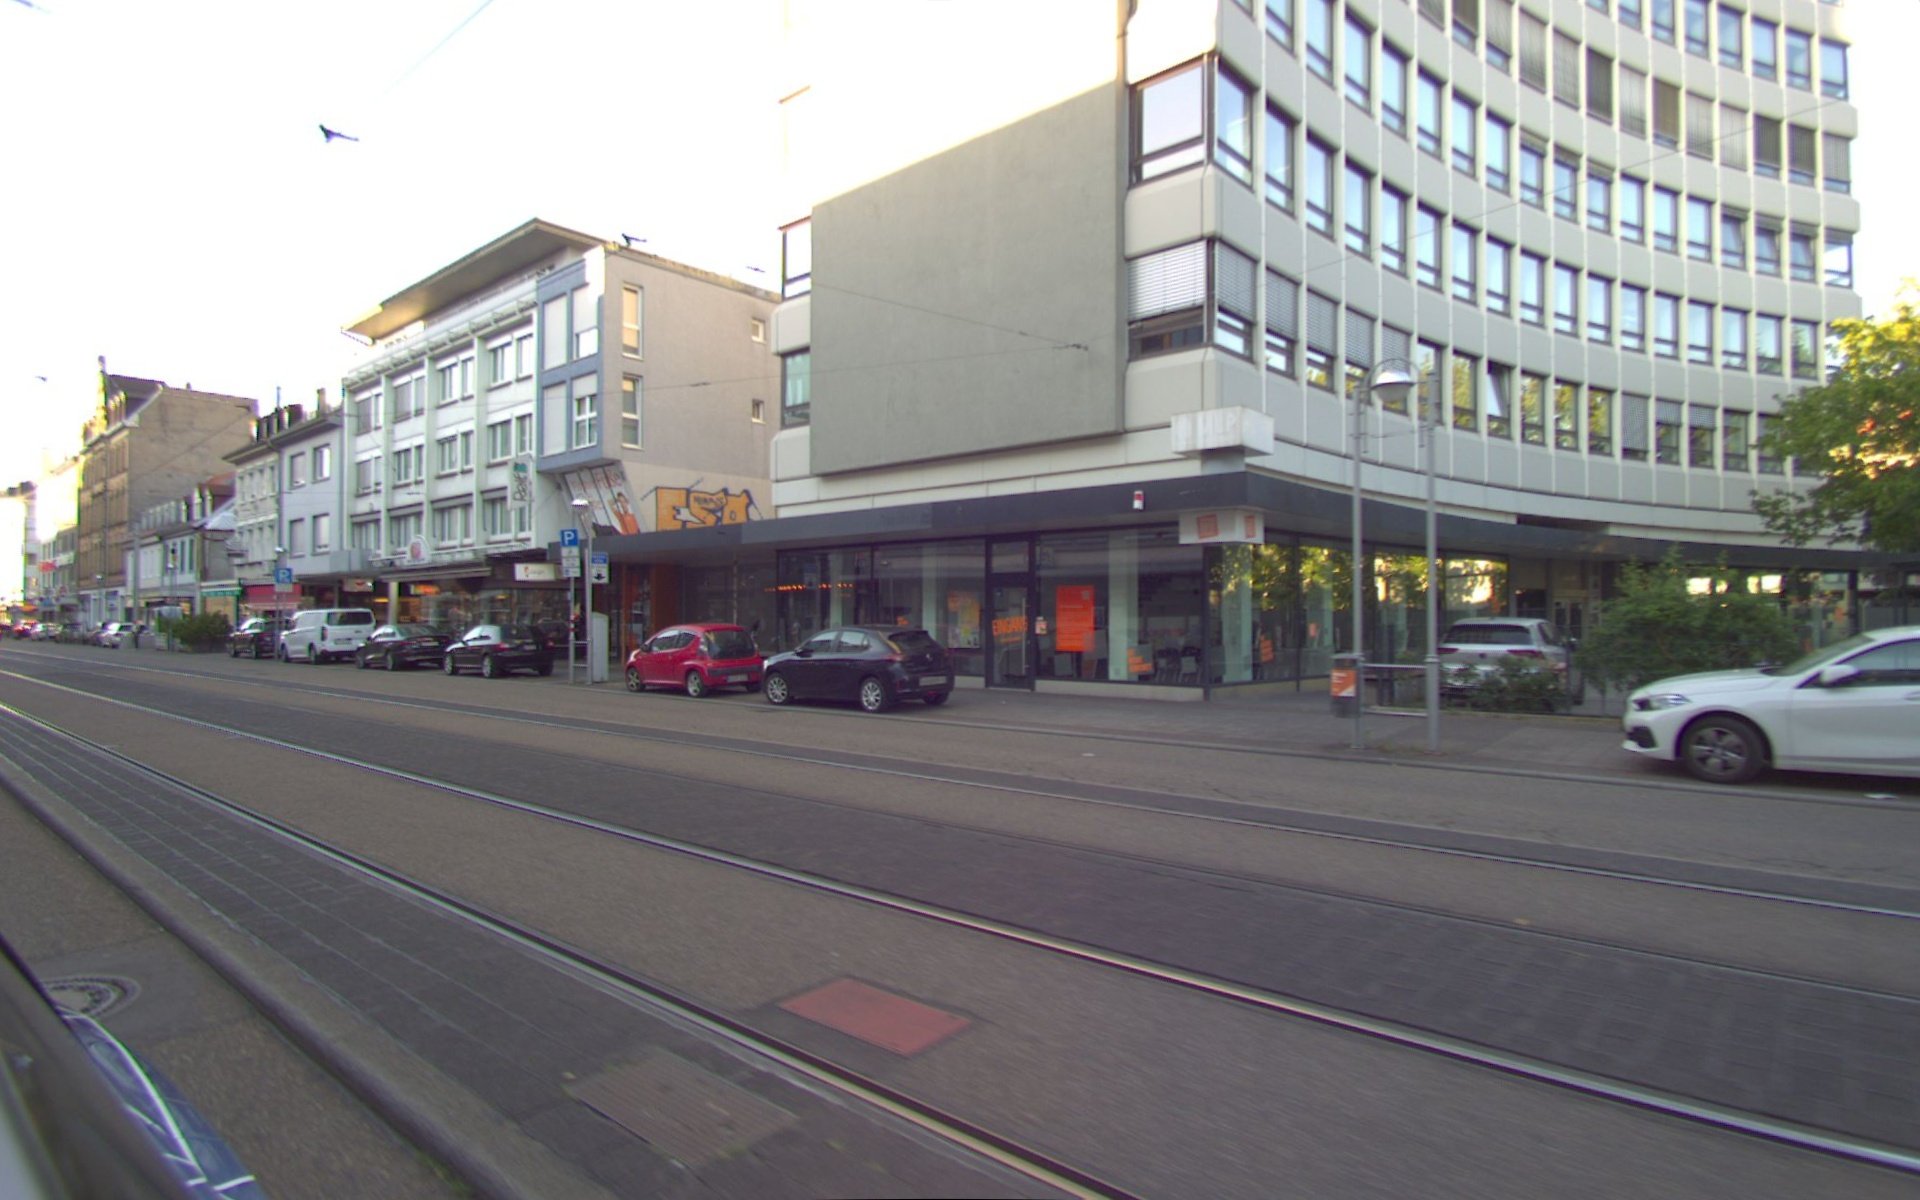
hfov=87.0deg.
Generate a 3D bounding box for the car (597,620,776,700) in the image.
[{"bbox_3d":[-5.924,1.223,21.682,4.213,1.523,1.668,-2,-1,42],"label":"car"}]

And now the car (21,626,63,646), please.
[{"bbox_3d":[-73.673,2.896,81.185,4.204,1.564,1.973,-2,-2,41],"label":"car"}]

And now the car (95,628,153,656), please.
[{"bbox_3d":[-49.526,2.456,59.940,4.877,1.556,1.972,-2,-1,42],"label":"car"}]

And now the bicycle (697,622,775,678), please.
[{"bbox_3d":[-5.954,1.321,26.967,0.833,1.436,1.948,-2,-2,39],"label":"bicycle"}]

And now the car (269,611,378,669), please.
[{"bbox_3d":[-23.522,1.444,37.313,5.159,1.992,1.935,-2,-2,40],"label":"car"}]

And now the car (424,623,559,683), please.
[{"bbox_3d":[-12.982,1.403,27.947,4.442,1.523,1.669,-2,-2,40],"label":"car"}]

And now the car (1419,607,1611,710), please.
[{"bbox_3d":[9.174,0.886,16.594,1.846,1.478,3.943,-2,-2,43],"label":"car"}]

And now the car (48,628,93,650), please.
[{"bbox_3d":[-64.987,2.828,73.924,3.998,1.564,1.973,-2,-2,41],"label":"car"}]

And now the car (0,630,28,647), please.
[{"bbox_3d":[-89.929,3.616,95.855,3.998,1.564,1.973,-2,-2,41],"label":"car"}]

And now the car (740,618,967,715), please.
[{"bbox_3d":[-2.011,1.127,18.262,4.213,1.523,1.668,-2,-1,42],"label":"car"}]

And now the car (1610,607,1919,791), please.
[{"bbox_3d":[8.611,0.841,9.073,4.432,1.523,1.792,-2,-2,43],"label":"car"}]

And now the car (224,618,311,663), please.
[{"bbox_3d":[-28.769,1.657,41.995,4.524,1.734,1.839,-2,-1,40],"label":"car"}]

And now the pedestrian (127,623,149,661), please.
[{"bbox_3d":[-44.708,2.269,55.051,0.811,2.029,0.714,1,-2,-33],"label":"pedestrian"}]

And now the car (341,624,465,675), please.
[{"bbox_3d":[-17.824,1.522,32.287,4.555,1.477,1.973,-2,-1,40],"label":"car"}]

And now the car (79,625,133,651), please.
[{"bbox_3d":[-53.721,2.390,63.644,4.550,1.556,1.889,-2,-2,41],"label":"car"}]
